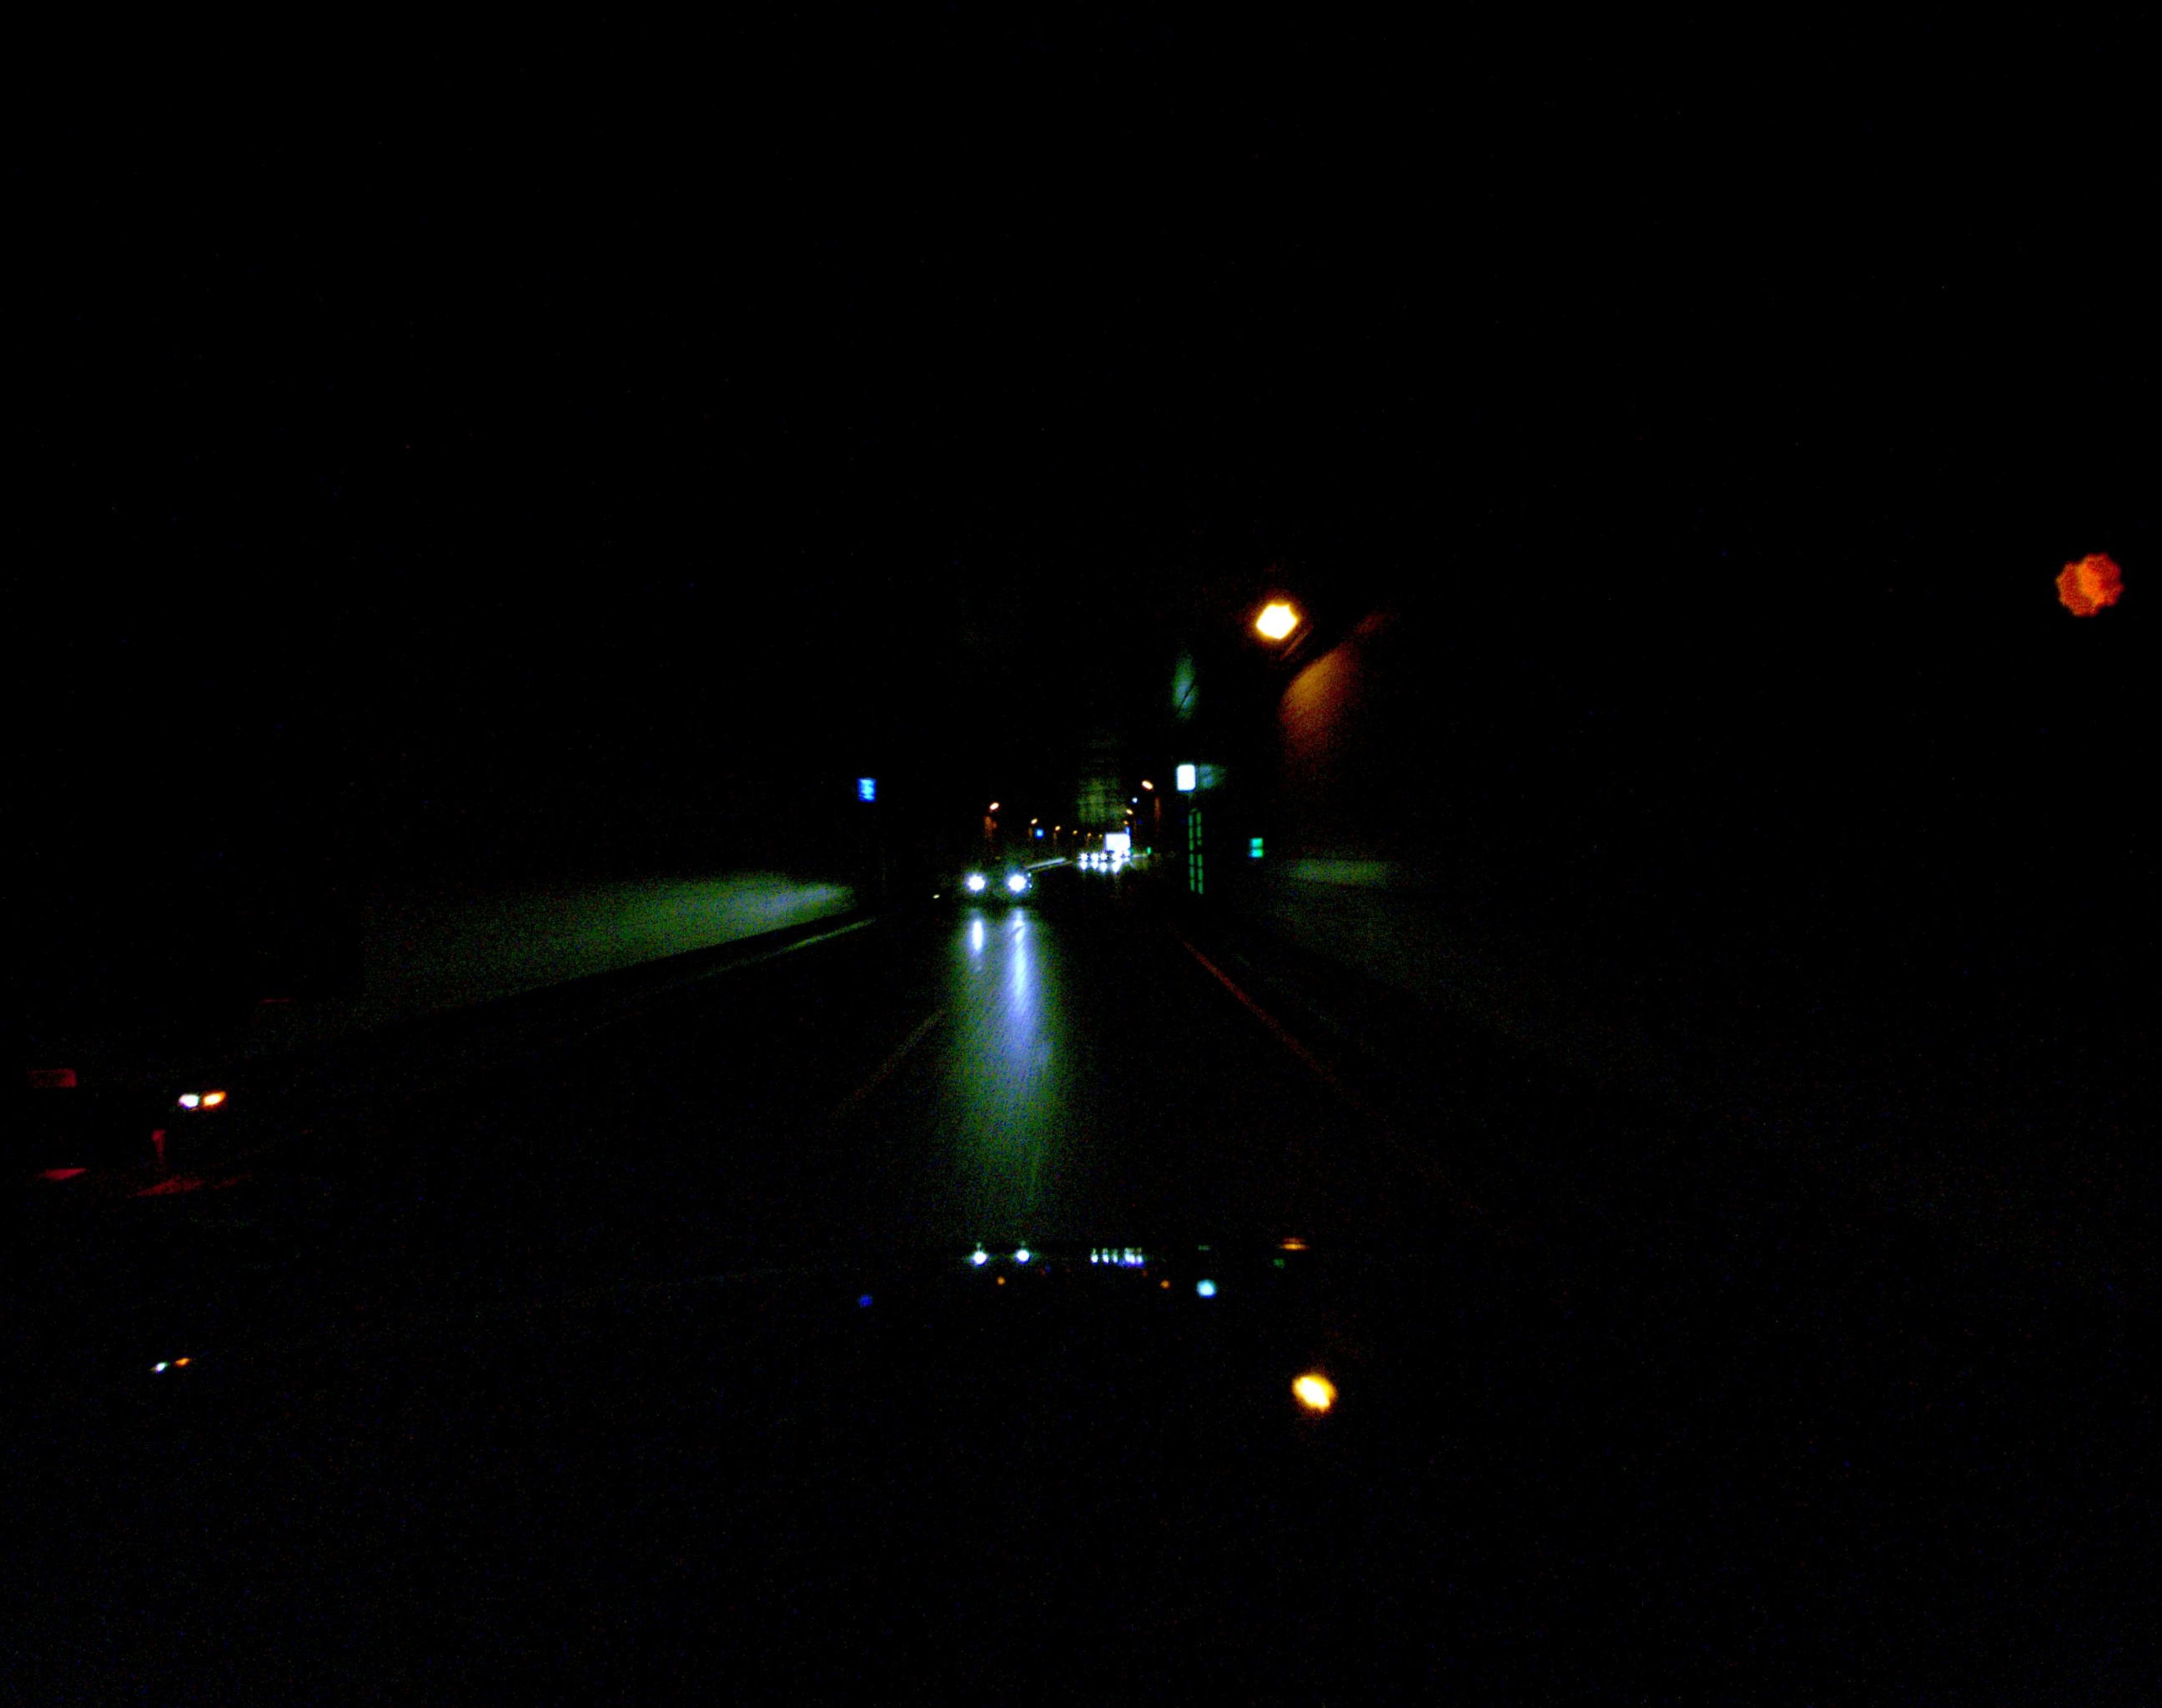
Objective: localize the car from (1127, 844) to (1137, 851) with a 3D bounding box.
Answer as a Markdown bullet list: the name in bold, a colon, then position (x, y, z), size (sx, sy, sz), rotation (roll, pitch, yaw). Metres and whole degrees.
- **car**: position (11.576, -1.491, 171.315), size (1.810, 1.576, 4.002), rotation (-3, 0, 8)

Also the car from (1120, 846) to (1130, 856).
- **car**: position (7.953, -0.521, 137.369), size (1.714, 1.729, 4.000), rotation (-2, 2, 5)

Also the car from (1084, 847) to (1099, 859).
- **car**: position (1.499, -0.152, 107.542), size (1.735, 1.565, 4.001), rotation (-3, 0, 4)

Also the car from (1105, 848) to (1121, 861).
- **car**: position (4.160, 0.011, 98.170), size (1.819, 1.589, 4.002), rotation (0, 1, 6)

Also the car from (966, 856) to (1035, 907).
- **car**: position (-2.502, 0.828, 24.393), size (1.735, 1.395, 3.798), rotation (-2, 1, 0)

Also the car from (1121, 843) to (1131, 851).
- **car**: position (11.128, -1.764, 187.956), size (1.997, 1.904, 4.002), rotation (-2, 1, 9)
